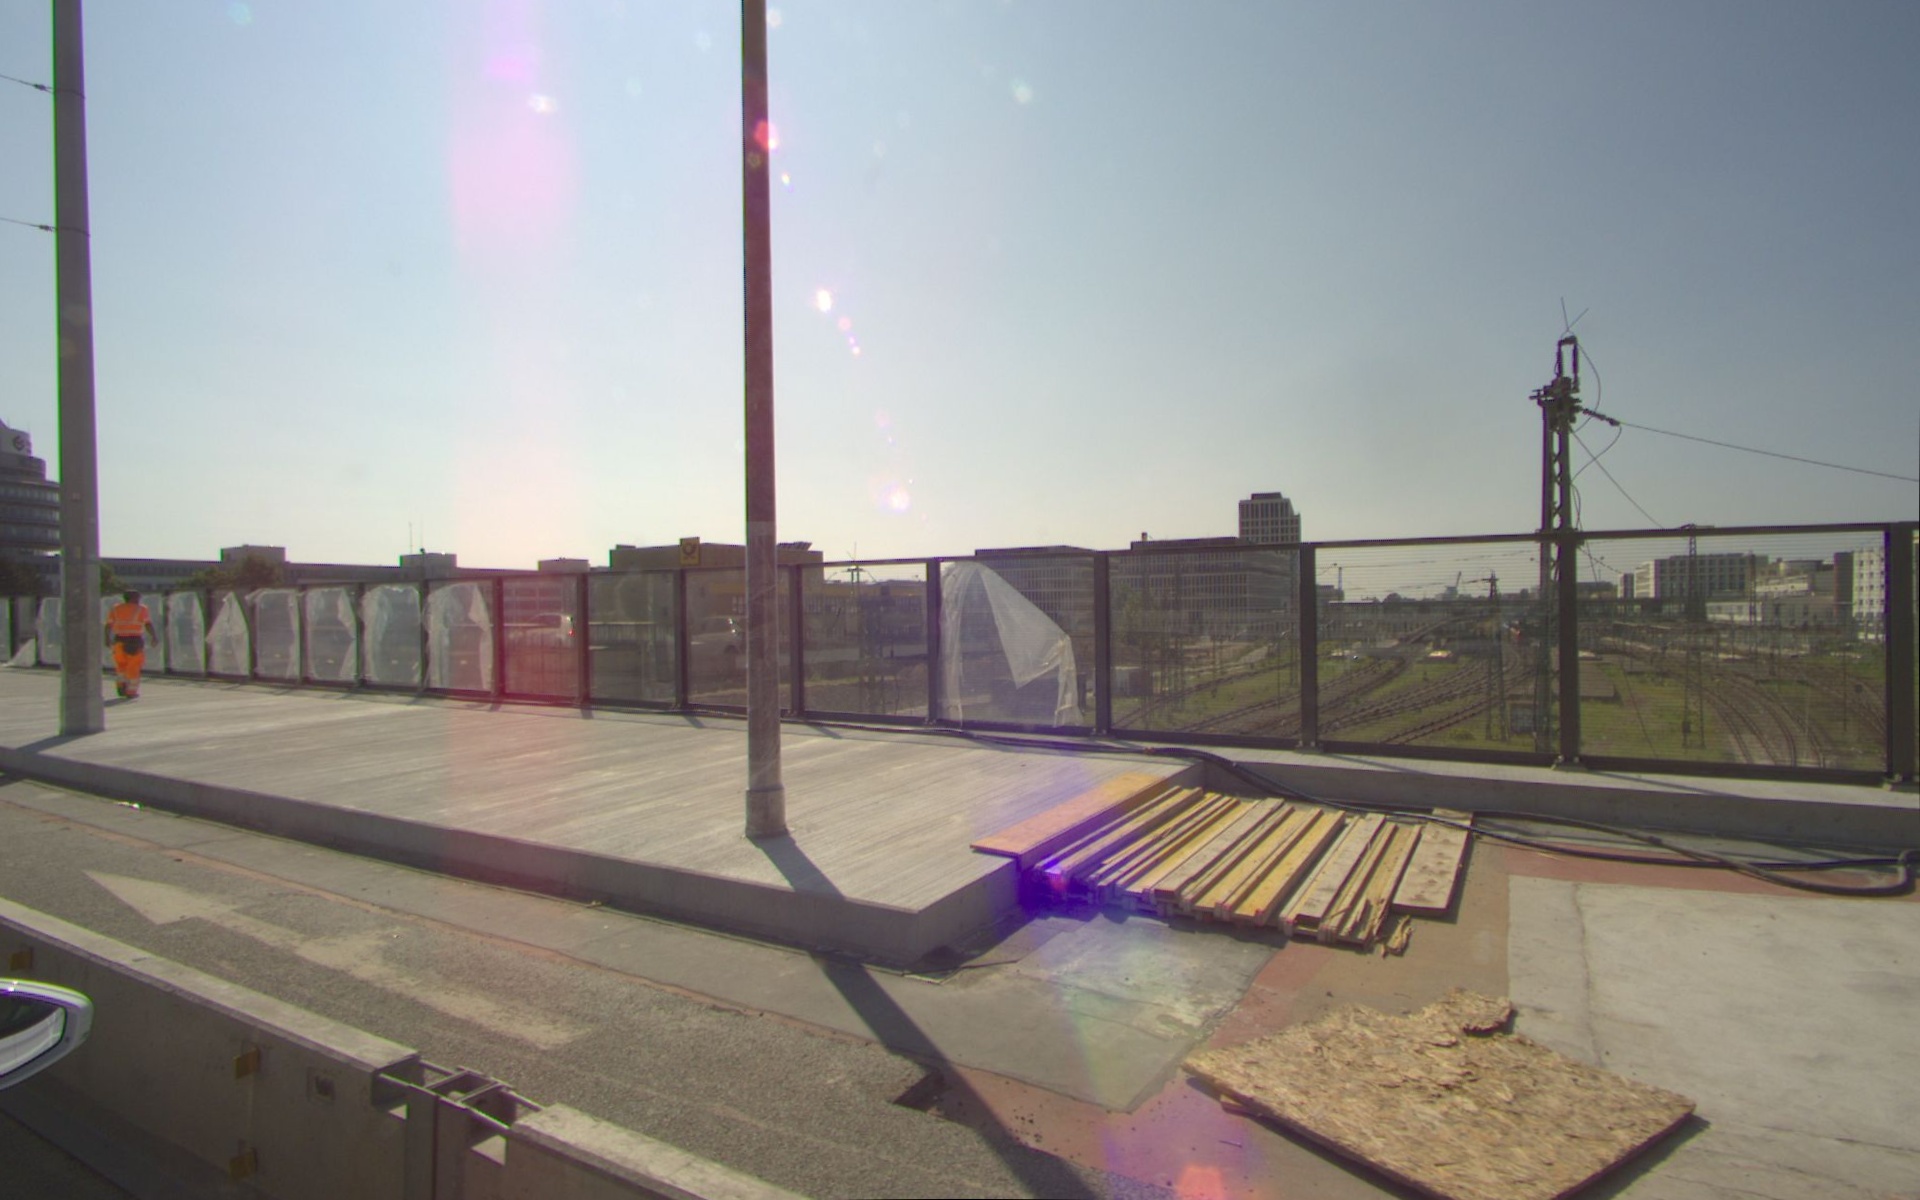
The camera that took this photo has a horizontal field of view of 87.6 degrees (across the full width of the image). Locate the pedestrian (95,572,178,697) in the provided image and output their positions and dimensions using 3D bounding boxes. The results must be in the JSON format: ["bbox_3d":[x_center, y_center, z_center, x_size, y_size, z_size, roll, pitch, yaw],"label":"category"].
[{"bbox_3d":[-13.343,0.547,16.235,0.788,1.961,0.780,-1,1,32],"label":"pedestrian"}]
